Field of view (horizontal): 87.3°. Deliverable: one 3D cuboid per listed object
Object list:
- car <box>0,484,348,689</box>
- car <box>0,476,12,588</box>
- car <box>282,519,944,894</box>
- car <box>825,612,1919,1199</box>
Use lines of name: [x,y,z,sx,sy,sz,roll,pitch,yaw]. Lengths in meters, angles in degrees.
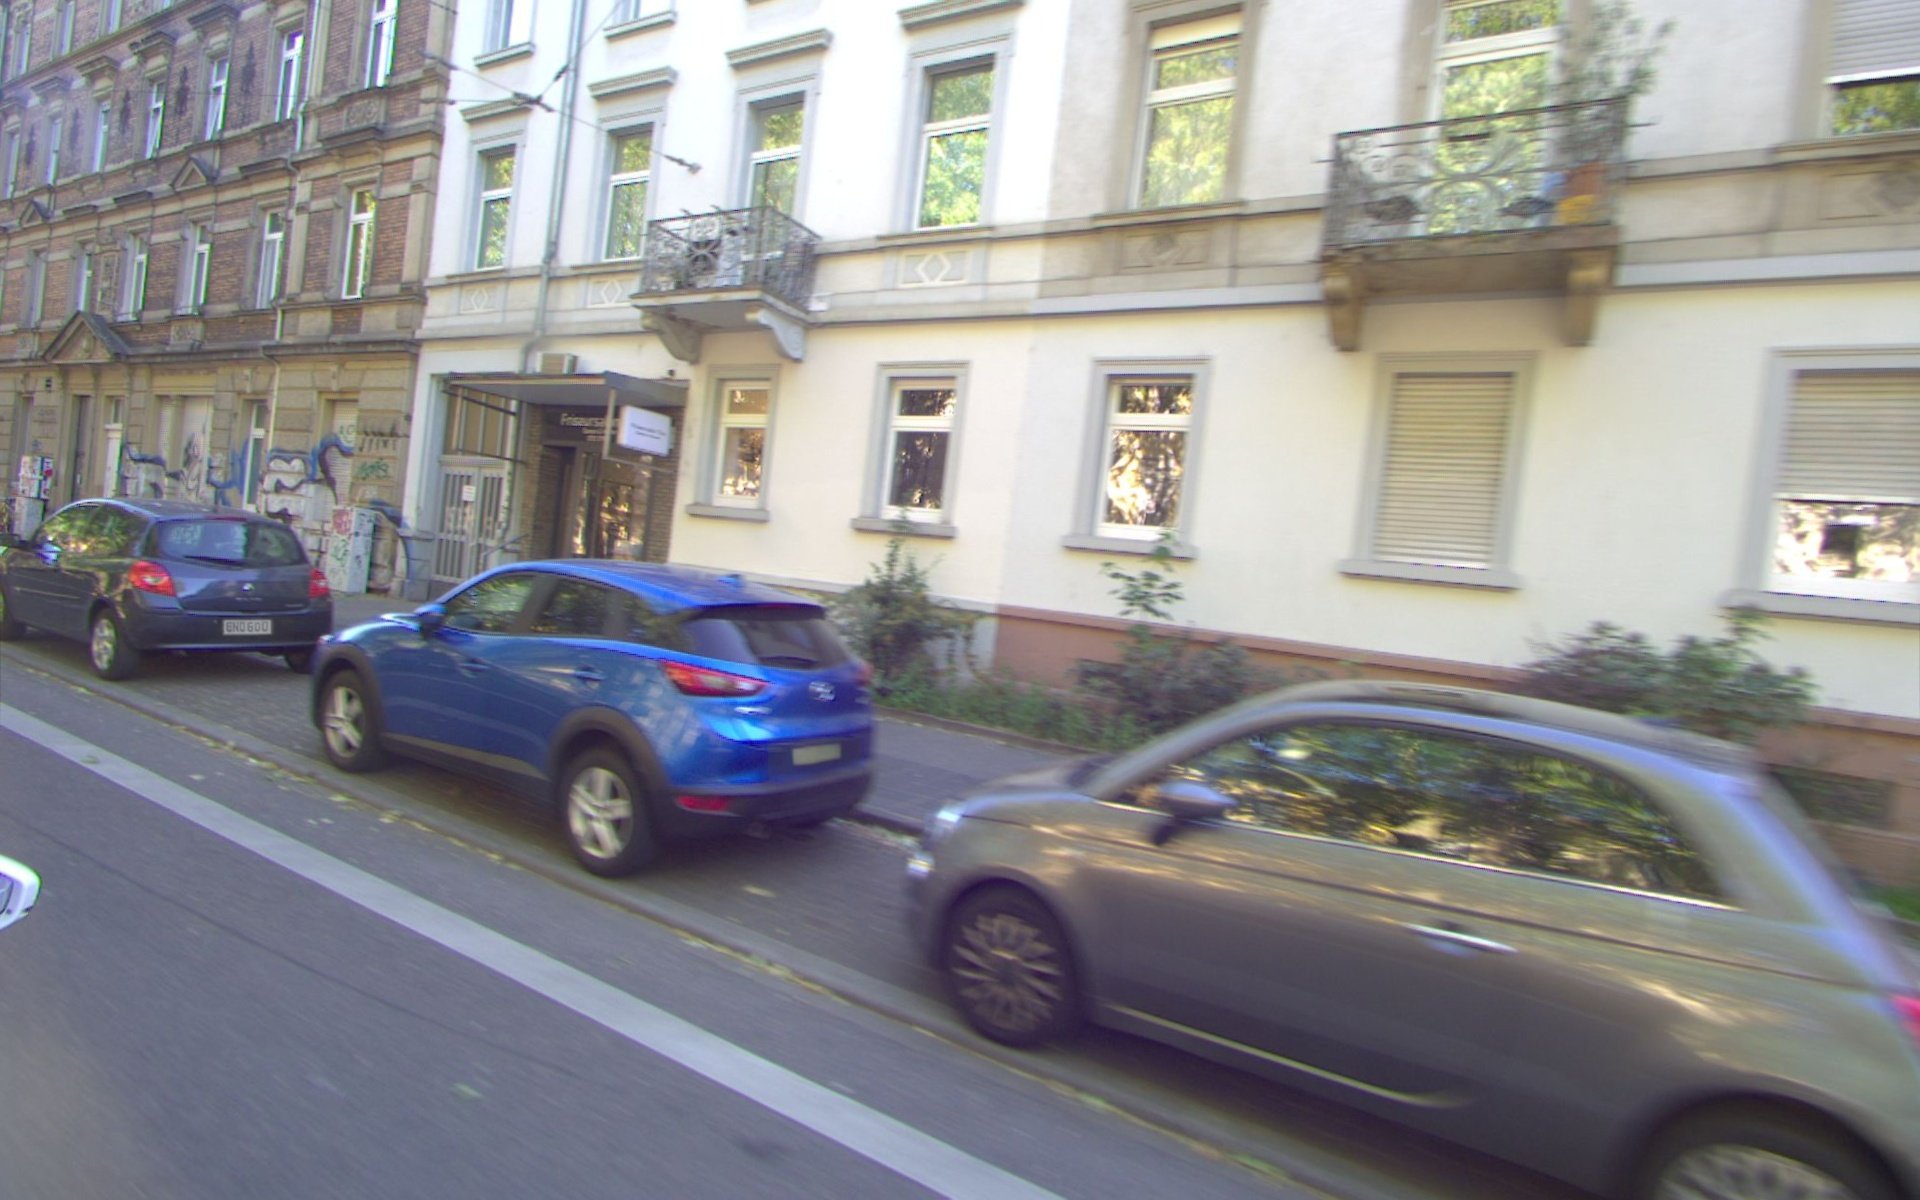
car: [-7.752,-0.217,9.613,3.701,1.504,1.710,7,3,31]
car: [-14.849,-1.092,14.005,2.988,1.538,1.568,7,3,29]
car: [-2.310,0.415,6.388,3.960,1.476,1.879,7,3,33]
car: [1.548,0.977,3.875,3.705,1.476,1.799,7,3,30]
